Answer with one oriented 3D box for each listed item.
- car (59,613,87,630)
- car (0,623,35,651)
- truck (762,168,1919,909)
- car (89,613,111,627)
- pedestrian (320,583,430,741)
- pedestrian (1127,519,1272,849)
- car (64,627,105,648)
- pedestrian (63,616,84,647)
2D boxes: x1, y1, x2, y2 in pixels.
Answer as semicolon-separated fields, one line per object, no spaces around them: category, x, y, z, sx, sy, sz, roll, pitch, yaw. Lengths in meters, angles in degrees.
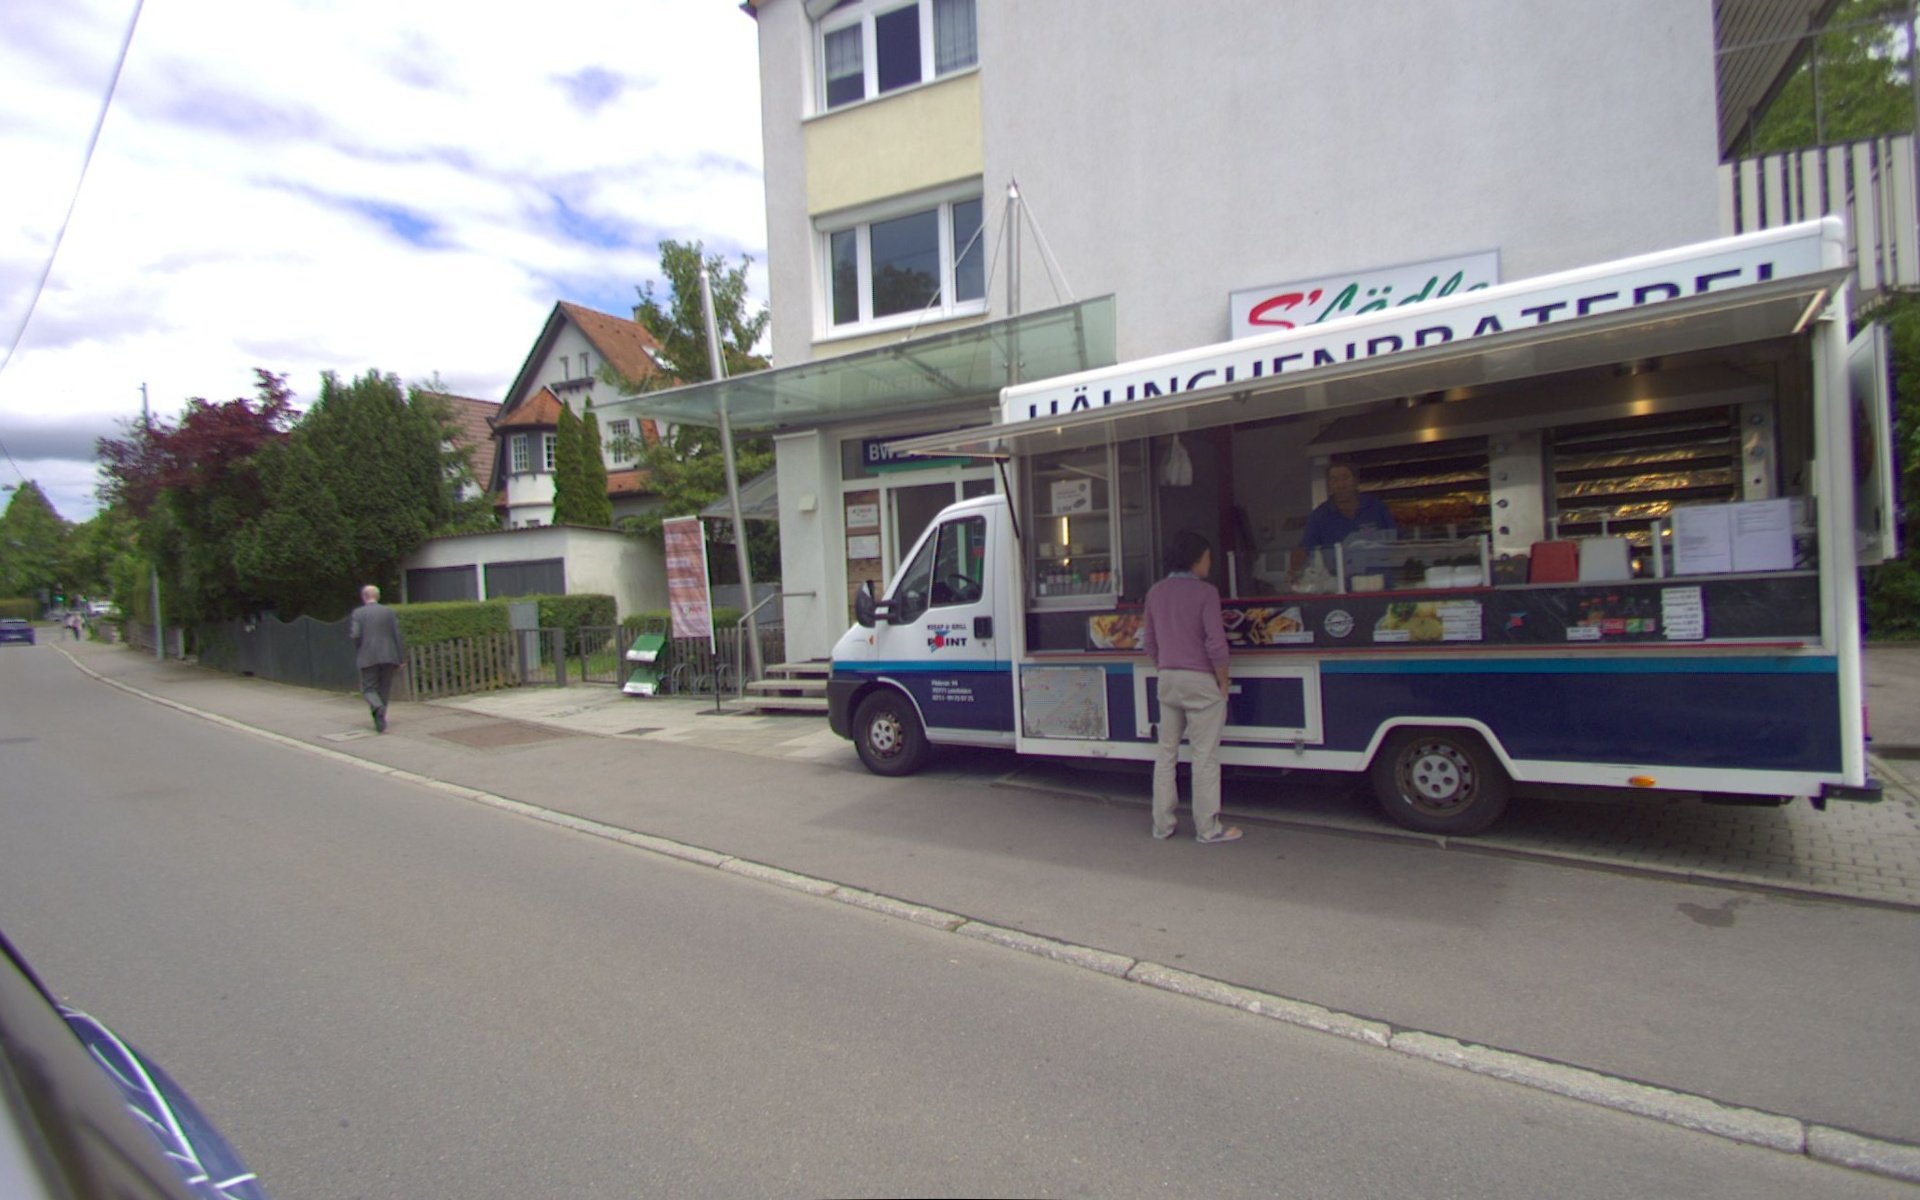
car;-88.576;2.129;101.042;1.819;1.668;4.141;2;-2;-45
car;-53.170;2.053;56.721;1.672;1.442;3.935;-2;0;-39
truck;1.882;-0.204;6.871;6.697;2.861;2.450;-1;1;38
car;-115.524;2.689;135.975;1.970;1.709;4.004;-5;3;-43
pedestrian;-6.808;0.684;11.767;1.109;1.699;0.715;0;3;43
pedestrian;1.312;0.430;5.542;0.596;1.707;0.397;-1;3;37
car;-66.963;2.862;77.442;1.794;1.361;3.401;-5;3;-32
pedestrian;-52.592;1.850;60.015;0.810;1.757;0.605;-5;3;-42
